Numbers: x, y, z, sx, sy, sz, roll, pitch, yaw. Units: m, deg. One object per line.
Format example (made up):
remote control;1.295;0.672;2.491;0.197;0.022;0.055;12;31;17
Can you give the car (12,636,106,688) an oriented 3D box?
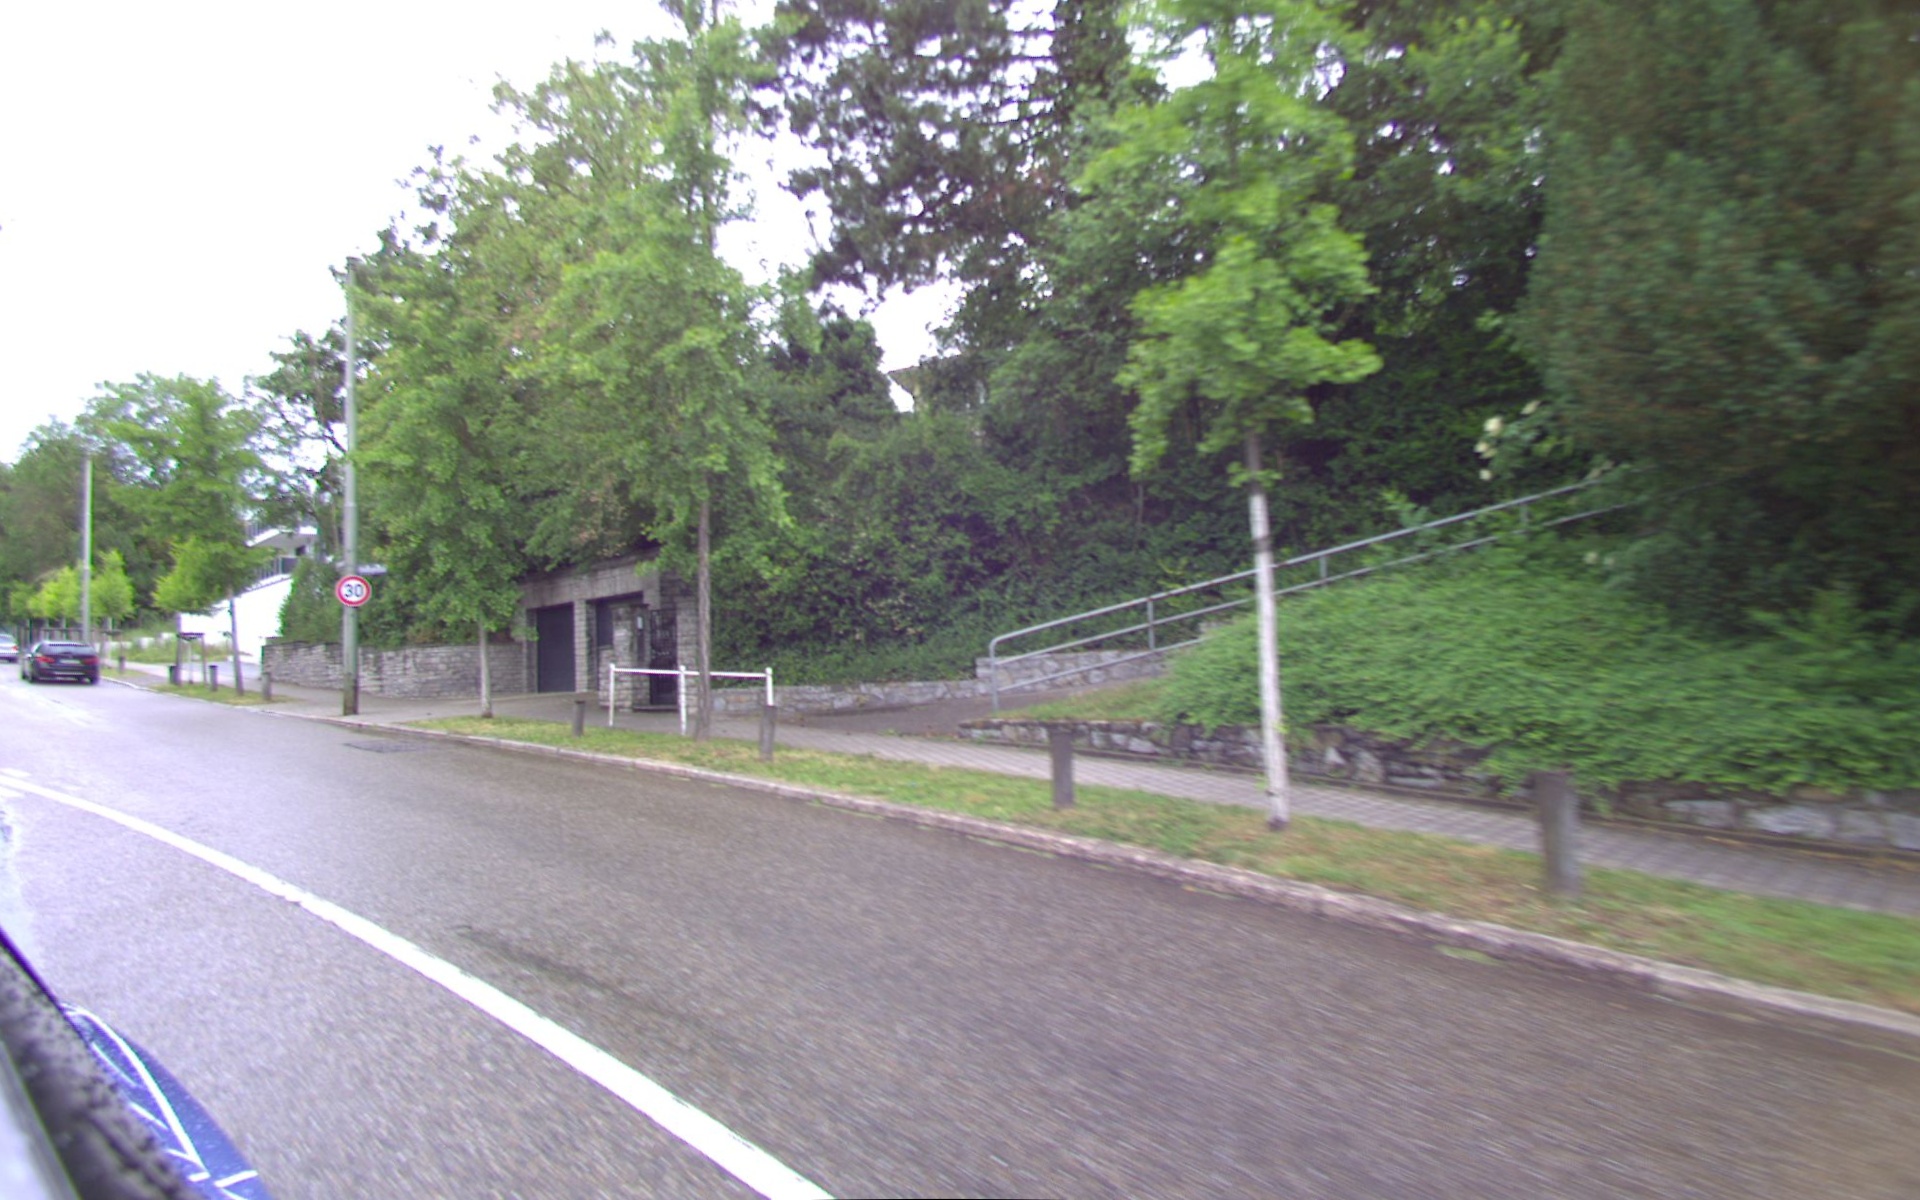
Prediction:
car;-30.751;2.101;34.483;4.587;1.597;1.890;-2;-6;43

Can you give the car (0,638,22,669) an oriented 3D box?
car;-48.482;2.644;50.746;3.800;1.497;1.746;-3;-6;42
